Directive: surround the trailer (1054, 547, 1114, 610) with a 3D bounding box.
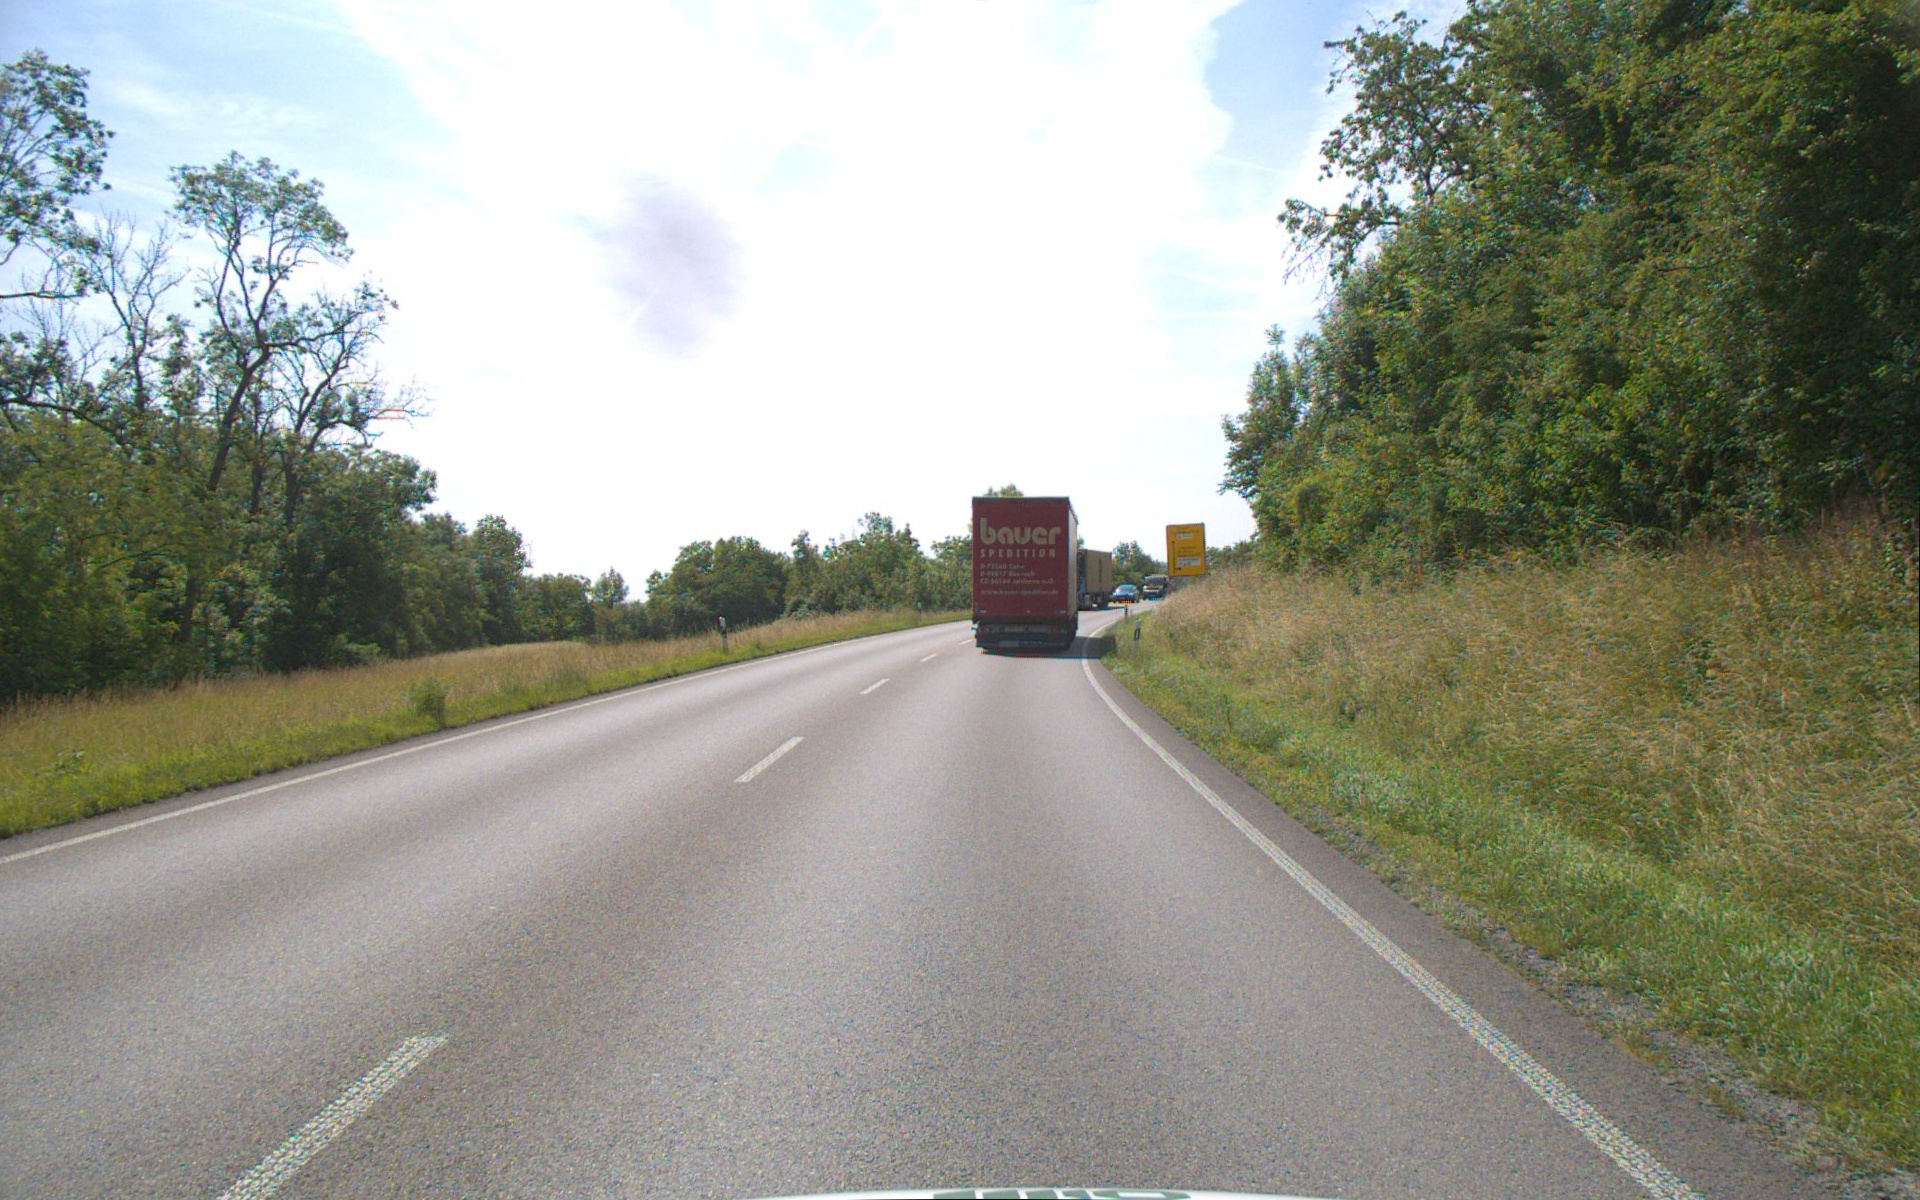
[{"bbox_3d":[8.758,-1.385,115.281,2.933,4.114,12.928,0,0,10],"label":"trailer"}]

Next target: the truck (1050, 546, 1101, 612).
[{"bbox_3d":[7.555,-1.369,107.897,2.746,4.138,5.990,-1,0,9],"label":"truck"}]

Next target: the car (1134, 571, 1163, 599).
[{"bbox_3d":[17.481,-1.436,153.555,2.125,2.343,4.911,-5,0,11],"label":"car"}]

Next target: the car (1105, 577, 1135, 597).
[{"bbox_3d":[13.473,-1.128,139.116,1.823,1.511,4.363,-3,0,14],"label":"car"}]

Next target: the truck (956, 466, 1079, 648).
[{"bbox_3d":[1.891,-1.156,48.107,3.047,4.584,12.174,-1,1,4],"label":"truck"}]
